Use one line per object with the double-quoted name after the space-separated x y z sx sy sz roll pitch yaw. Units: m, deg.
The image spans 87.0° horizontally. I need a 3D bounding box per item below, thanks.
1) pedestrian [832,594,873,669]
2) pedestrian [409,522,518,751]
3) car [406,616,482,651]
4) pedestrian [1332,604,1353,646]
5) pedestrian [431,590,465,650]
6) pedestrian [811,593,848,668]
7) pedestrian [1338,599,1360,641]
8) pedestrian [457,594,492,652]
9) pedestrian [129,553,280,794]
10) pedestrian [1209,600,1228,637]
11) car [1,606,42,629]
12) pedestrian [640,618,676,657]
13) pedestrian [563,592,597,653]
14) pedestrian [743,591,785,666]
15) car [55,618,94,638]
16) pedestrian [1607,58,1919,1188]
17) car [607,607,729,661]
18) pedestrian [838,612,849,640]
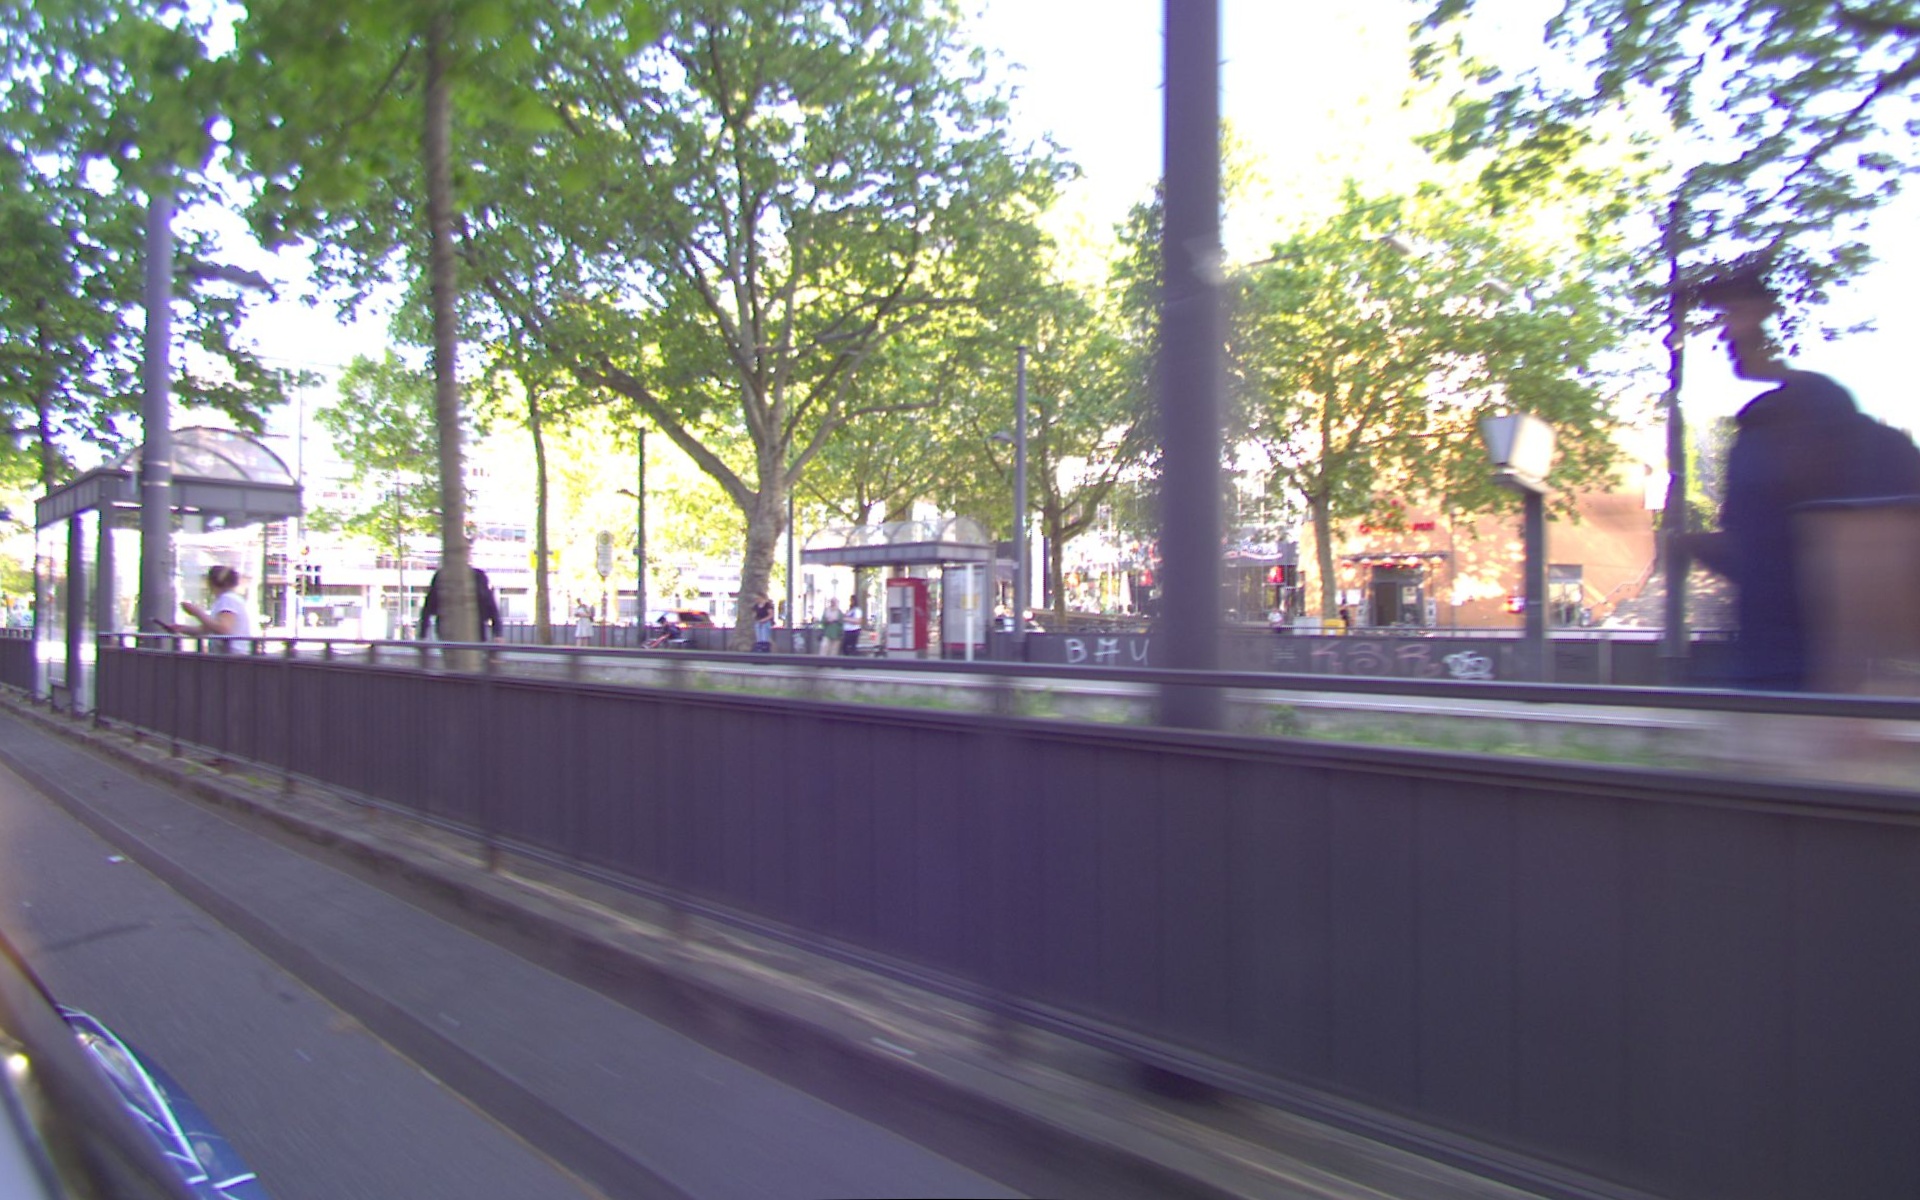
-2.185 0.645 20.580 0.605 1.497 0.566 -1 -1 29 "pedestrian"
-4.252 0.300 8.666 0.637 1.853 0.640 -2 -1 40 "pedestrian"
-22.616 1.433 44.299 3.340 1.466 1.847 -1 -1 41 "car"
14.806 0.975 39.166 0.571 1.616 0.580 0 -1 -45 "pedestrian"
-15.308 0.606 30.263 0.674 1.767 0.649 -1 -1 32 "pedestrian"
-2.696 0.629 20.945 0.549 1.509 0.549 -1 -1 29 "pedestrian"
15.220 0.782 39.567 0.571 1.616 0.598 0 -1 -45 "pedestrian"
-14.439 0.687 30.099 0.697 1.708 0.679 -1 -1 32 "pedestrian"
-5.687 0.514 7.630 0.644 1.703 0.733 -1 1 39 "pedestrian"
11.437 0.816 44.824 0.597 1.616 0.572 -1 -1 39 "pedestrian"
-80.825 1.511 87.237 1.967 1.796 4.010 -2 0 -34 "car"
-8.291 1.012 27.793 0.713 1.048 0.699 0 -1 -42 "pedestrian"
-11.186 0.661 29.807 0.635 1.753 0.690 -1 -1 32 "pedestrian"
-4.396 0.628 22.677 0.666 1.654 0.662 -1 -1 29 "pedestrian"
-67.893 2.147 77.636 1.879 1.494 4.296 0 -1 -37 "car"
1.736 0.036 1.919 0.824 1.816 0.701 -1 -1 33 "pedestrian"
-9.516 1.079 32.861 3.999 1.652 1.972 -1 -2 42 "car"
-7.168 1.607 62.351 0.616 1.696 0.530 -1 -1 -6 "pedestrian"
